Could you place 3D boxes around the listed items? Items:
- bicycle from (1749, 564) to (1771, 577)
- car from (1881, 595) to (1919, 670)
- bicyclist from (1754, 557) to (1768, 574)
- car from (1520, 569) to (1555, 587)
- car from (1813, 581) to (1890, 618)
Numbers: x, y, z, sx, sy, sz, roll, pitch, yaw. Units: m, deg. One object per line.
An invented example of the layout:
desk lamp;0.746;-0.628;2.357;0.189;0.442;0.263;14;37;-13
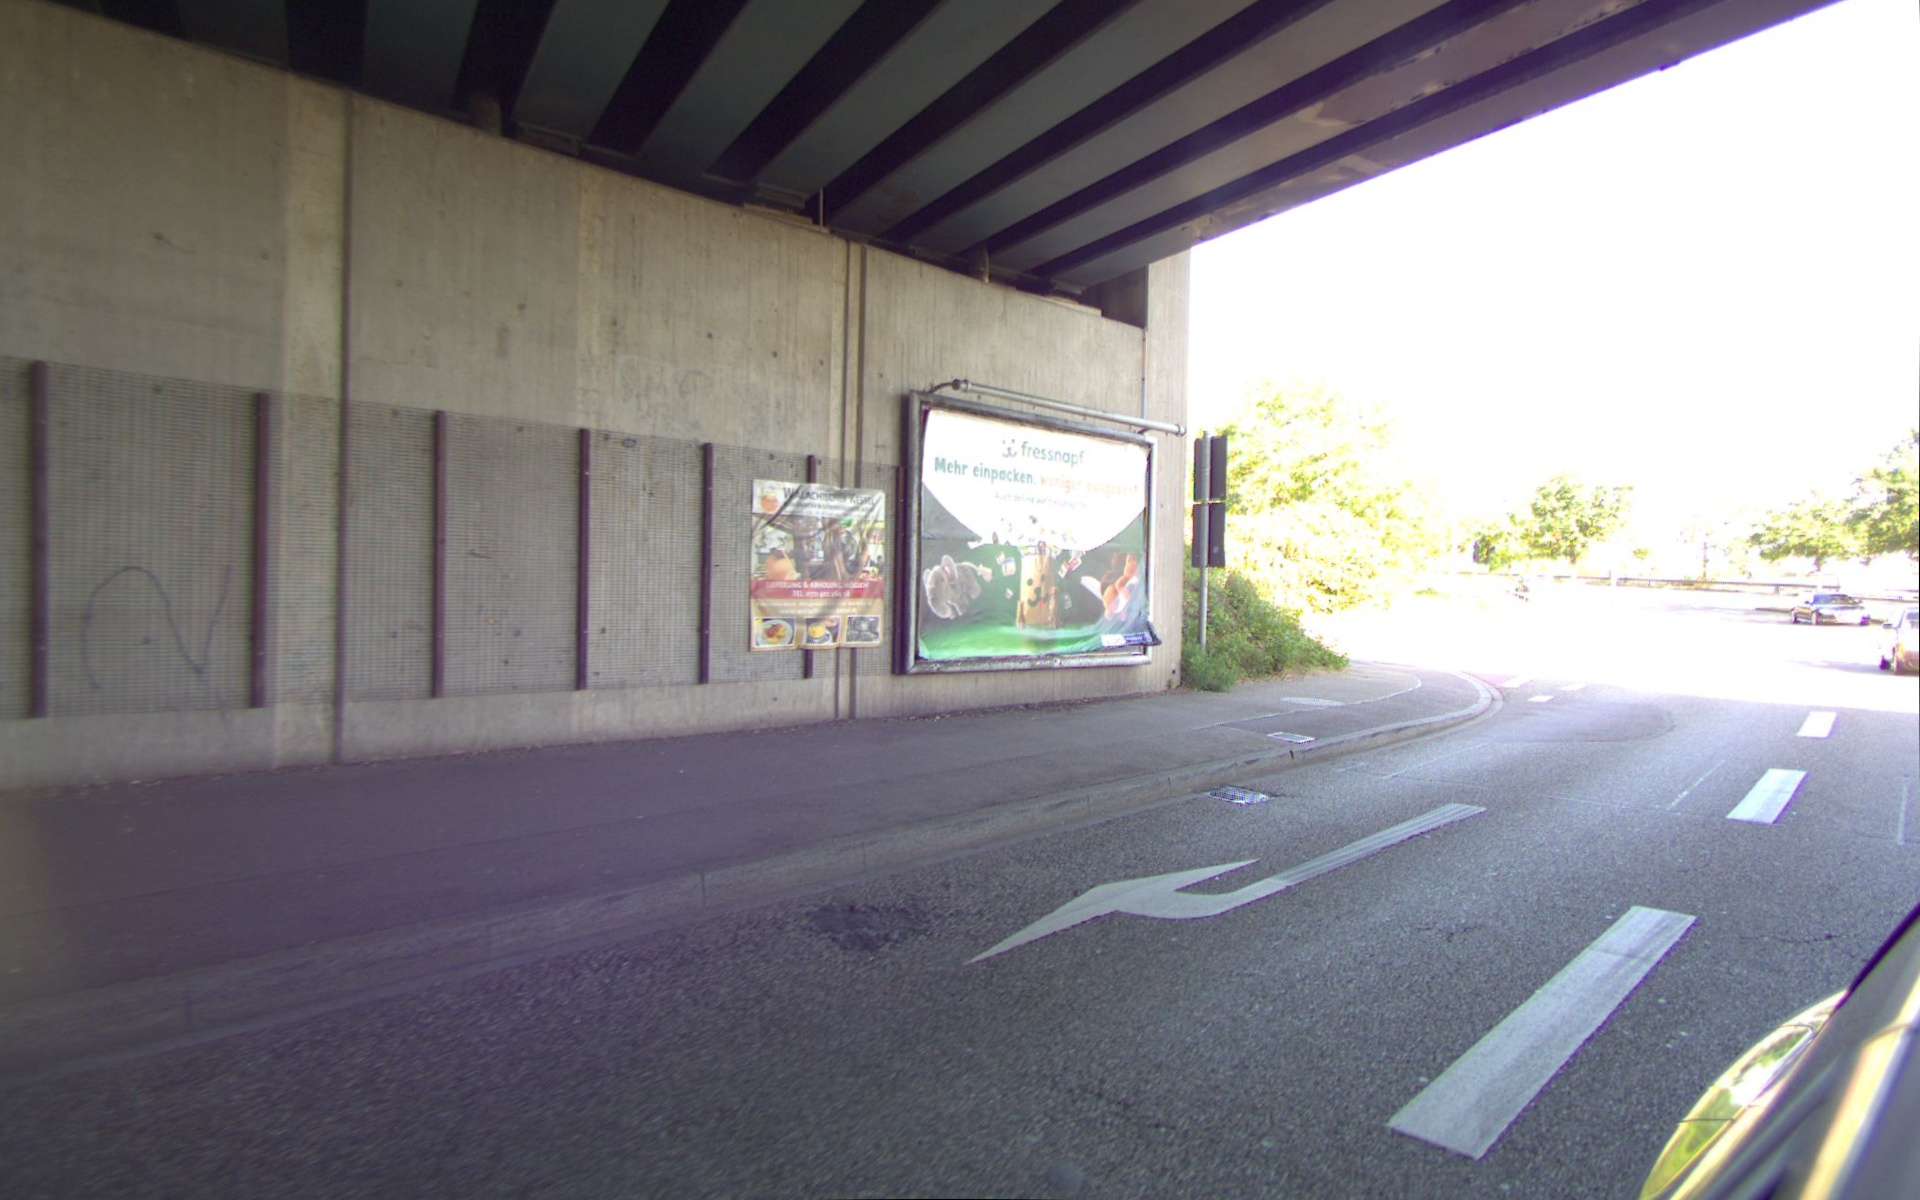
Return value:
bicycle;68.442;-2.524;86.552;0.583;1.036;1.749;-1;1;4
car;20.534;0.618;20.936;1.728;1.438;4.262;-1;0;37
bicyclist;68.459;-2.916;86.503;0.582;1.445;0.708;-1;0;2
car;51.926;-1.963;91.000;1.824;1.501;3.960;1;0;16
car;38.587;-0.054;43.882;1.843;1.498;4.181;0;1;32
